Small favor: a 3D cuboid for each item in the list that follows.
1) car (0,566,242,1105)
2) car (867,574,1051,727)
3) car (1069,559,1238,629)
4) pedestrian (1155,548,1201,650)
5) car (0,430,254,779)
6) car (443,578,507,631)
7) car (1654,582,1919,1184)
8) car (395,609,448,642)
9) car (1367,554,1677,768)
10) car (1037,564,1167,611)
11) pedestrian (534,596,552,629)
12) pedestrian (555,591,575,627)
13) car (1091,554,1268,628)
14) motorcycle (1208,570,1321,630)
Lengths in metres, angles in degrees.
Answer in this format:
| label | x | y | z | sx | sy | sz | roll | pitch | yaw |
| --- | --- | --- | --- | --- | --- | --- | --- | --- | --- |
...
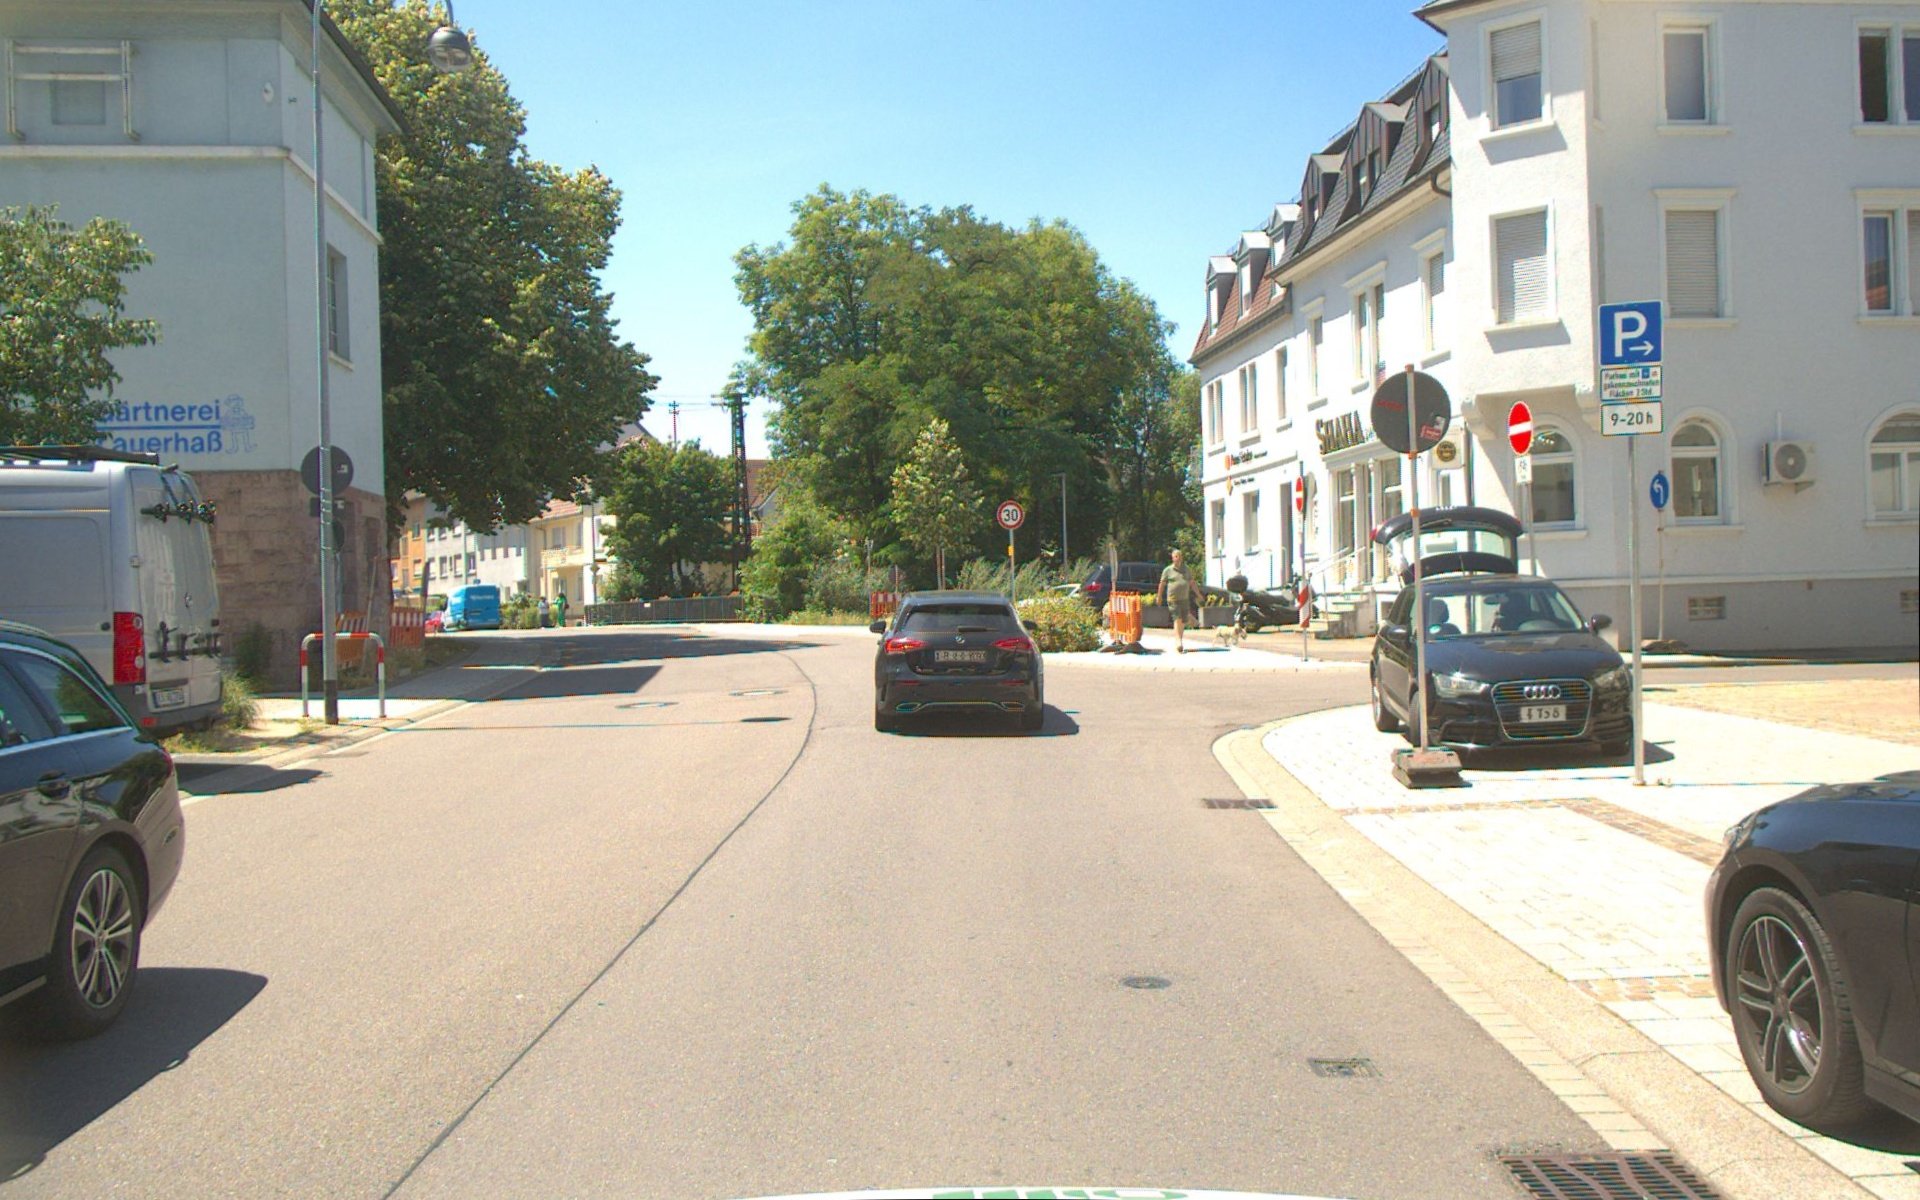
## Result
| label | x | y | z | sx | sy | sz | roll | pitch | yaw |
| --- | --- | --- | --- | --- | --- | --- | --- | --- | --- |
| car | -3.716 | 0.702 | 4.378 | 1.856 | 1.581 | 4.794 | 0 | 1 | -5 |
| car | -0.035 | 0.562 | 18.401 | 1.790 | 1.467 | 3.999 | -2 | -2 | -1 |
| car | 4.941 | -0.155 | 42.503 | 3.997 | 1.746 | 1.853 | 0 | 0 | -7 |
| pedestrian | 3.996 | -0.037 | 30.391 | 0.730 | 1.827 | 0.844 | -2 | 2 | 2 |
| car | -9.391 | 0.048 | 14.203 | 5.654 | 2.780 | 2.289 | 0 | -1 | -4 |
| car | -25.008 | 0.251 | 85.136 | 2.110 | 2.586 | 4.602 | -2 | 0 | -30 |
| car | 3.157 | 0.649 | 3.034 | 1.689 | 1.429 | 4.608 | -4 | 0 | -1 |
| car | -30.737 | 1.445 | 94.378 | 1.973 | 1.776 | 4.283 | -1 | 0 | -31 |
| car | 4.683 | 0.416 | 14.344 | 1.832 | 1.517 | 3.865 | -3 | 1 | 9 |
| car | 4.640 | -0.408 | 53.727 | 4.166 | 1.373 | 1.833 | 0 | 4 | -42 |
| pedestrian | -20.938 | 0.644 | 83.017 | 0.609 | 1.641 | 0.827 | -1 | -1 | -35 |
| pedestrian | -19.712 | 0.465 | 82.484 | 0.689 | 1.772 | 0.659 | -2 | -1 | 42 |
| car | 5.341 | -0.216 | 40.527 | 3.997 | 1.746 | 1.853 | 0 | 0 | -7 |
| motorcycle | 6.839 | -0.015 | 37.188 | 2.331 | 1.297 | 0.855 | -1 | 0 | -6 |
